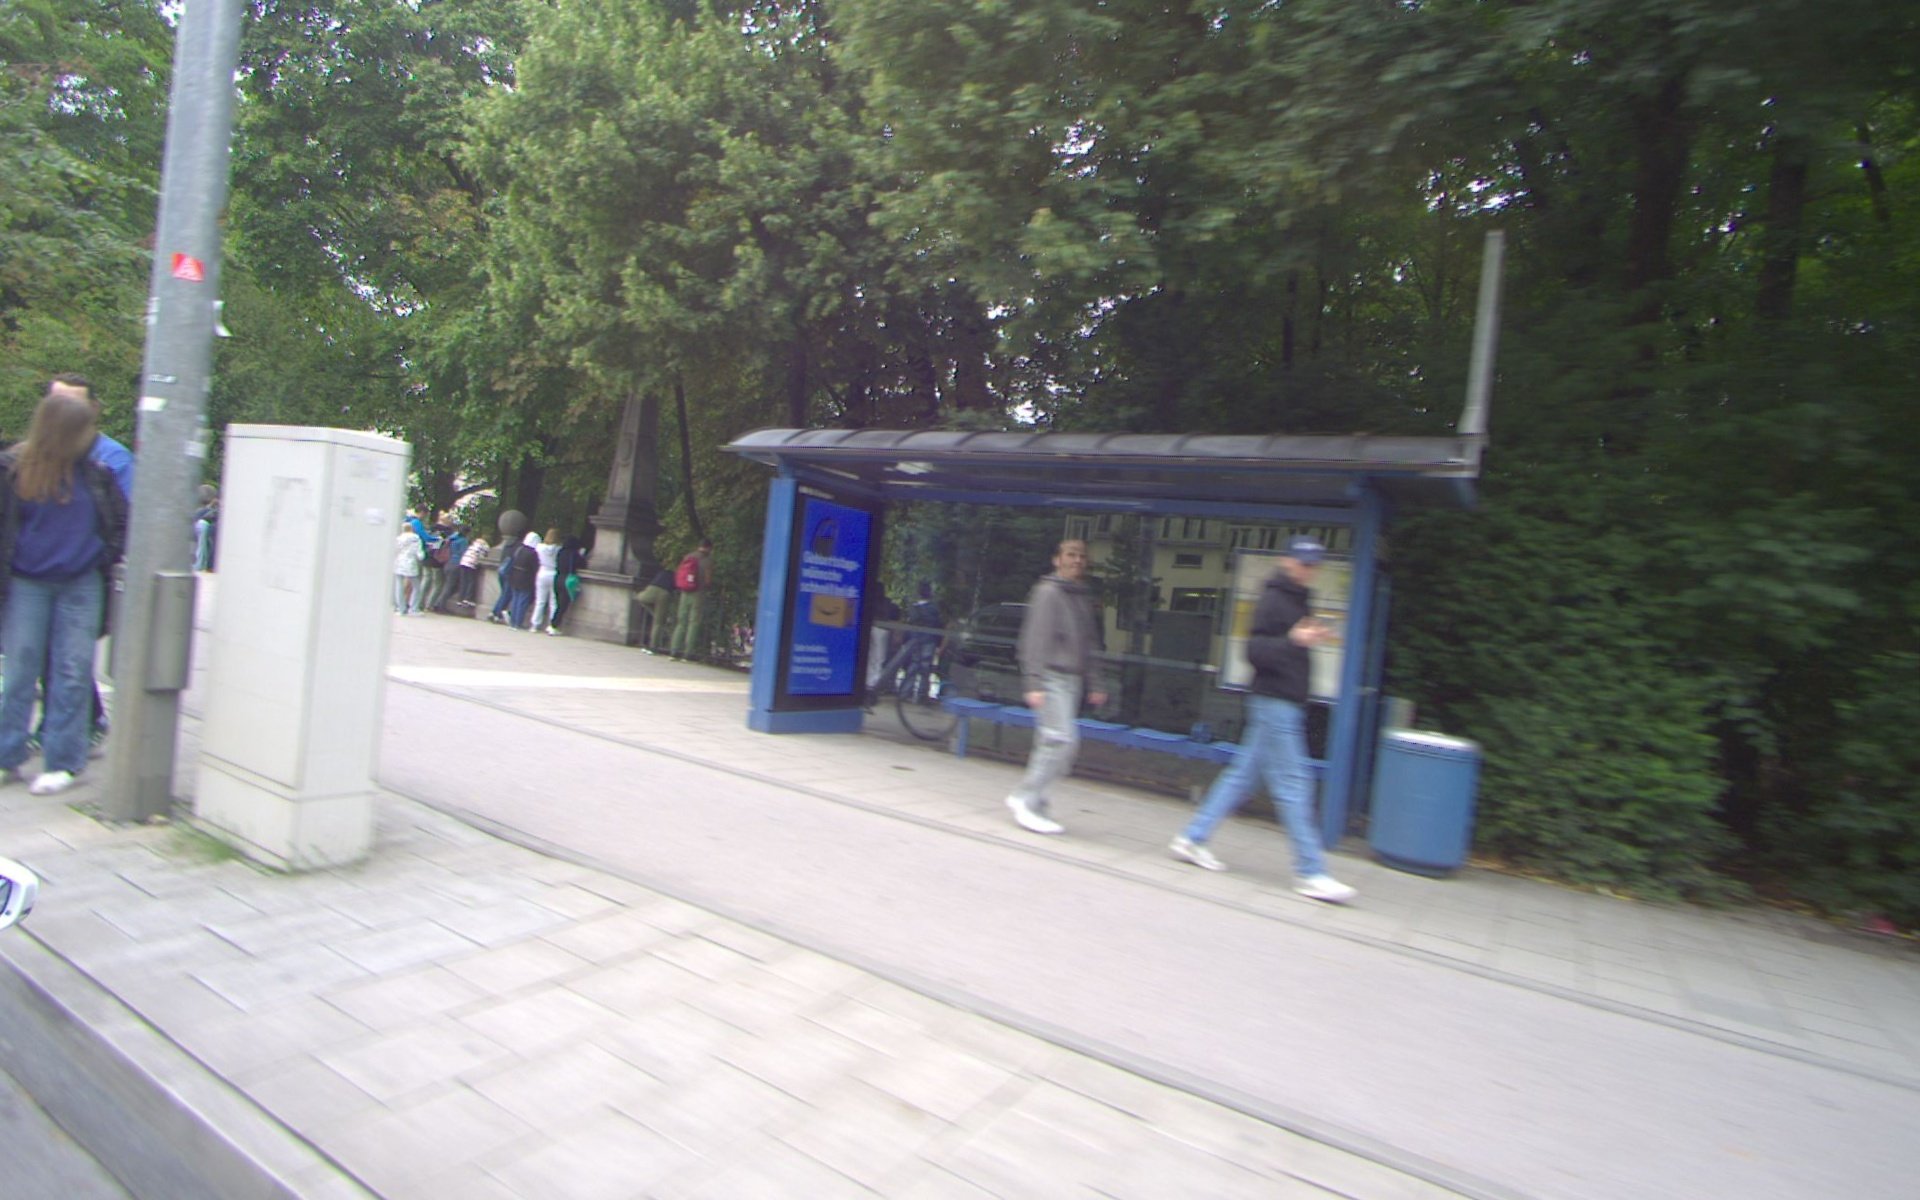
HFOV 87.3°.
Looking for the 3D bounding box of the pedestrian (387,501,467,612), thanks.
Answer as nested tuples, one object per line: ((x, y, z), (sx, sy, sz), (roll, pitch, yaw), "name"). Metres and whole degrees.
((-9.310, -0.750, 17.586), (0.717, 1.789, 0.813), (7, 0, 34), "pedestrian")

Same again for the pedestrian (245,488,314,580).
((-14.153, -1.368, 20.922), (0.717, 1.760, 0.813), (7, 0, 34), "pedestrian")

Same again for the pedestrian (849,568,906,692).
((-1.189, 0.436, 14.498), (0.435, 1.724, 0.421), (7, 0, 34), "pedestrian")

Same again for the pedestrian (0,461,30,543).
((-21.079, -2.174, 22.080), (0.638, 1.711, 0.726), (7, 0, 36), "pedestrian")

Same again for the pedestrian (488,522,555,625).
((-6.970, -0.418, 16.010), (0.524, 1.525, 0.637), (7, 0, 34), "pedestrian")

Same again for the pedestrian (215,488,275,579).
((-14.304, -1.324, 20.125), (0.717, 1.711, 0.592), (7, 0, 34), "pedestrian")

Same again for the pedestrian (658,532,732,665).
((-3.778, -0.013, 14.354), (0.524, 1.789, 0.636), (7, 0, 34), "pedestrian")

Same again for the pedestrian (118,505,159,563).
((-17.870, -1.431, 21.882), (0.638, 1.167, 0.458), (7, 0, 37), "pedestrian")

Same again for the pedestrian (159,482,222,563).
((-17.739, -1.788, 23.189), (0.717, 1.711, 0.813), (7, 0, 34), "pedestrian")

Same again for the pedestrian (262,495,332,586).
((-13.535, -1.206, 20.542), (0.717, 1.711, 0.813), (7, 0, 34), "pedestrian")

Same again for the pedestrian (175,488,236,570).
((-16.970, -1.595, 22.620), (0.717, 1.713, 0.812), (7, 2, 34), "pedestrian")

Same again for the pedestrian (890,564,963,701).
((-0.463, 0.441, 13.880), (0.631, 1.789, 0.529), (7, 0, -27), "pedestrian")

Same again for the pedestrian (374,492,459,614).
((-8.967, -0.768, 16.603), (0.717, 1.851, 0.813), (7, 0, 34), "pedestrian")

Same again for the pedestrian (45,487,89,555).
((-18.788, -1.664, 21.166), (0.638, 1.342, 0.458), (7, 0, 37), "pedestrian")

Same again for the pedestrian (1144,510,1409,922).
((1.617, 0.537, 5.118), (0.934, 1.830, 0.709), (7, 0, 31), "pedestrian")

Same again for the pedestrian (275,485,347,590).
((-12.957, -1.241, 20.098), (0.717, 1.940, 0.813), (7, 0, 34), "pedestrian")

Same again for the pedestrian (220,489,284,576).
((-14.913, -1.411, 21.189), (0.717, 1.713, 0.812), (7, 2, 34), "pedestrian")

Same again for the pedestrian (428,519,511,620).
((-8.072, -0.494, 16.569), (0.717, 1.525, 0.813), (7, 0, 34), "pedestrian")

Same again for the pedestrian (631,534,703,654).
((-4.272, -0.078, 14.676), (0.524, 1.646, 0.637), (7, 0, 34), "pedestrian")

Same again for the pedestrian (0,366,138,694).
((-5.798, -0.432, 6.228), (0.795, 1.903, 0.541), (7, 0, -23), "pedestrian")

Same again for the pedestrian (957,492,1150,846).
((0.545, 0.376, 5.726), (0.628, 1.830, 0.709), (7, 0, 31), "pedestrian")

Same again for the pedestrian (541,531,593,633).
((-6.122, -0.280, 15.666), (0.435, 1.525, 0.421), (7, 0, 34), "pedestrian")

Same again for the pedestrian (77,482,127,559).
((-18.397, -1.712, 21.576), (0.638, 1.546, 0.549), (7, 0, 36), "pedestrian")

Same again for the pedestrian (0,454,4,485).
((-24.171, -2.692, 24.844), (0.607, 1.937, 0.685), (7, 0, -42), "pedestrian")

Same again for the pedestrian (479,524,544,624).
((-7.327, -0.422, 16.447), (0.524, 1.525, 0.637), (7, 0, 34), "pedestrian")

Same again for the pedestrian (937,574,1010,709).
((0.185, 0.579, 14.107), (0.631, 1.789, 0.529), (7, 0, -27), "pedestrian")

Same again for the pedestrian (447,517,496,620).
((-8.522, -0.549, 17.552), (0.435, 1.724, 0.421), (7, 0, 32), "pedestrian")

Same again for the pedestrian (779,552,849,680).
((-2.151, 0.241, 14.843), (0.524, 1.789, 0.636), (7, 0, 34), "pedestrian")

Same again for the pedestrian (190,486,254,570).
((-16.297, -1.581, 22.223), (0.717, 1.712, 0.812), (7, 1, 34), "pedestrian")

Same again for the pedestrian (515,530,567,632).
((-6.571, -0.302, 15.786), (0.435, 1.525, 0.421), (7, 0, 34), "pedestrian")

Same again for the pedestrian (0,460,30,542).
((-23.043, -2.402, 24.338), (0.607, 1.895, 0.685), (7, 0, -42), "pedestrian")

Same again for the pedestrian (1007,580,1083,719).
((1.153, 0.660, 13.643), (0.631, 1.789, 0.529), (7, 0, -27), "pedestrian")

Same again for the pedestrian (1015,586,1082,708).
((1.360, 0.720, 15.551), (0.631, 1.789, 0.529), (7, 0, -27), "pedestrian")

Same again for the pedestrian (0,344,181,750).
((-4.475, -0.247, 4.982), (0.630, 1.830, 0.706), (7, 0, -22), "pedestrian")

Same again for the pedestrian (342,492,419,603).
((-10.592, -0.957, 18.393), (0.717, 1.874, 0.813), (7, 0, 34), "pedestrian")

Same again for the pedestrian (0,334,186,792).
((-4.018, -0.147, 4.360), (0.628, 1.830, 0.709), (7, 0, 31), "pedestrian")

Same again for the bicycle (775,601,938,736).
((-1.034, 0.648, 9.841), (1.550, 1.073, 0.393), (8, 0, 32), "bicycle")
